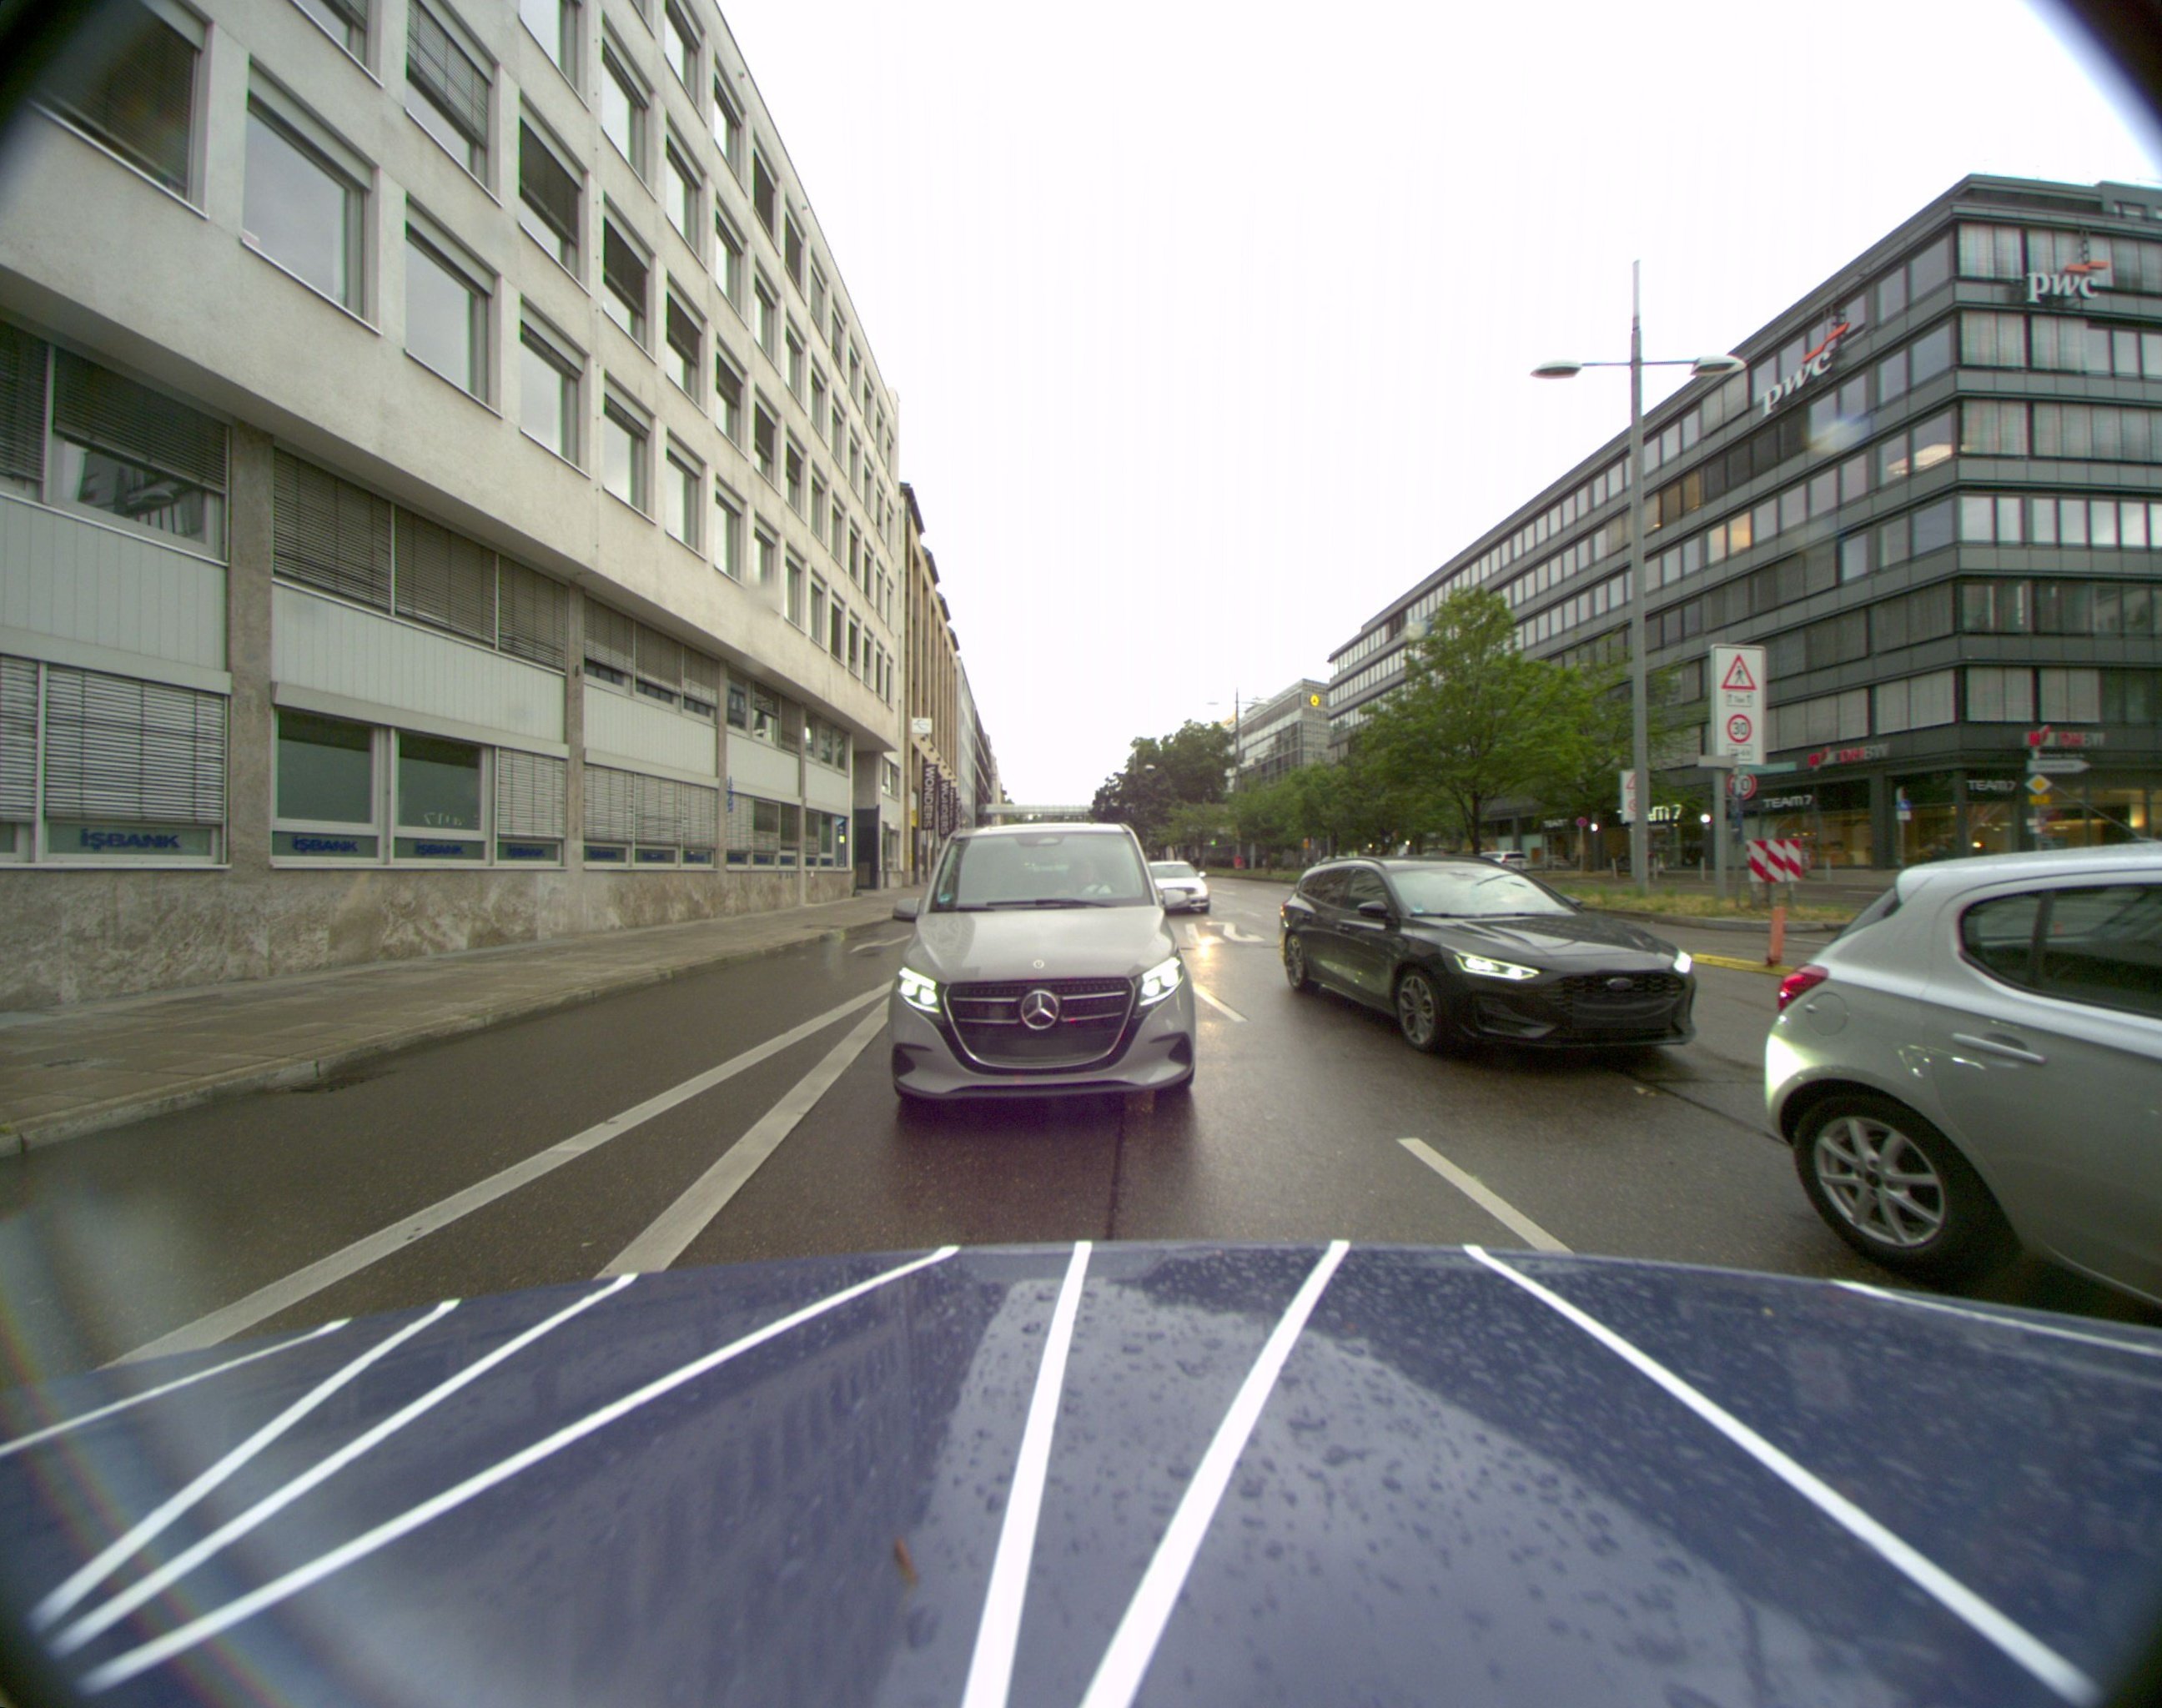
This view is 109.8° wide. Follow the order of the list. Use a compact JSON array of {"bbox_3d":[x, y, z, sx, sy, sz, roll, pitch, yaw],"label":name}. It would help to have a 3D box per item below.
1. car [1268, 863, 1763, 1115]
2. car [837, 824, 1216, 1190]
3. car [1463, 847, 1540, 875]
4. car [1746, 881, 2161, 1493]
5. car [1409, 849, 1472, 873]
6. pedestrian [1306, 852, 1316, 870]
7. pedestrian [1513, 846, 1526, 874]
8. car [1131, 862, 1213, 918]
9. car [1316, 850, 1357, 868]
[{"bbox_3d":[3.166,0.835,6.661,1.776,1.427,4.093,-2,0,-4],"label":"car"},{"bbox_3d":[-0.299,0.805,6.487,1.916,1.844,5.026,-2,0,0],"label":"car"},{"bbox_3d":[24.099,0.388,43.675,1.999,1.498,3.999,-2,0,-4],"label":"car"},{"bbox_3d":[3.494,0.843,1.084,1.652,1.427,3.875,-2,0,0],"label":"car"},{"bbox_3d":[23.641,0.448,50.133,1.999,1.498,4.106,-2,0,-4],"label":"car"},{"bbox_3d":[25.167,0.745,83.201,0.928,2.002,0.539,-2,0,-1],"label":"pedestrian"},{"bbox_3d":[31.916,0.464,55.312,0.575,2.002,0.461,-2,1,-5],"label":"pedestrian"},{"bbox_3d":[2.508,0.970,21.918,1.776,1.372,4.094,-2,0,-1],"label":"car"},{"bbox_3d":[22.389,0.458,66.678,1.999,1.498,3.999,-2,0,-4],"label":"car"}]
